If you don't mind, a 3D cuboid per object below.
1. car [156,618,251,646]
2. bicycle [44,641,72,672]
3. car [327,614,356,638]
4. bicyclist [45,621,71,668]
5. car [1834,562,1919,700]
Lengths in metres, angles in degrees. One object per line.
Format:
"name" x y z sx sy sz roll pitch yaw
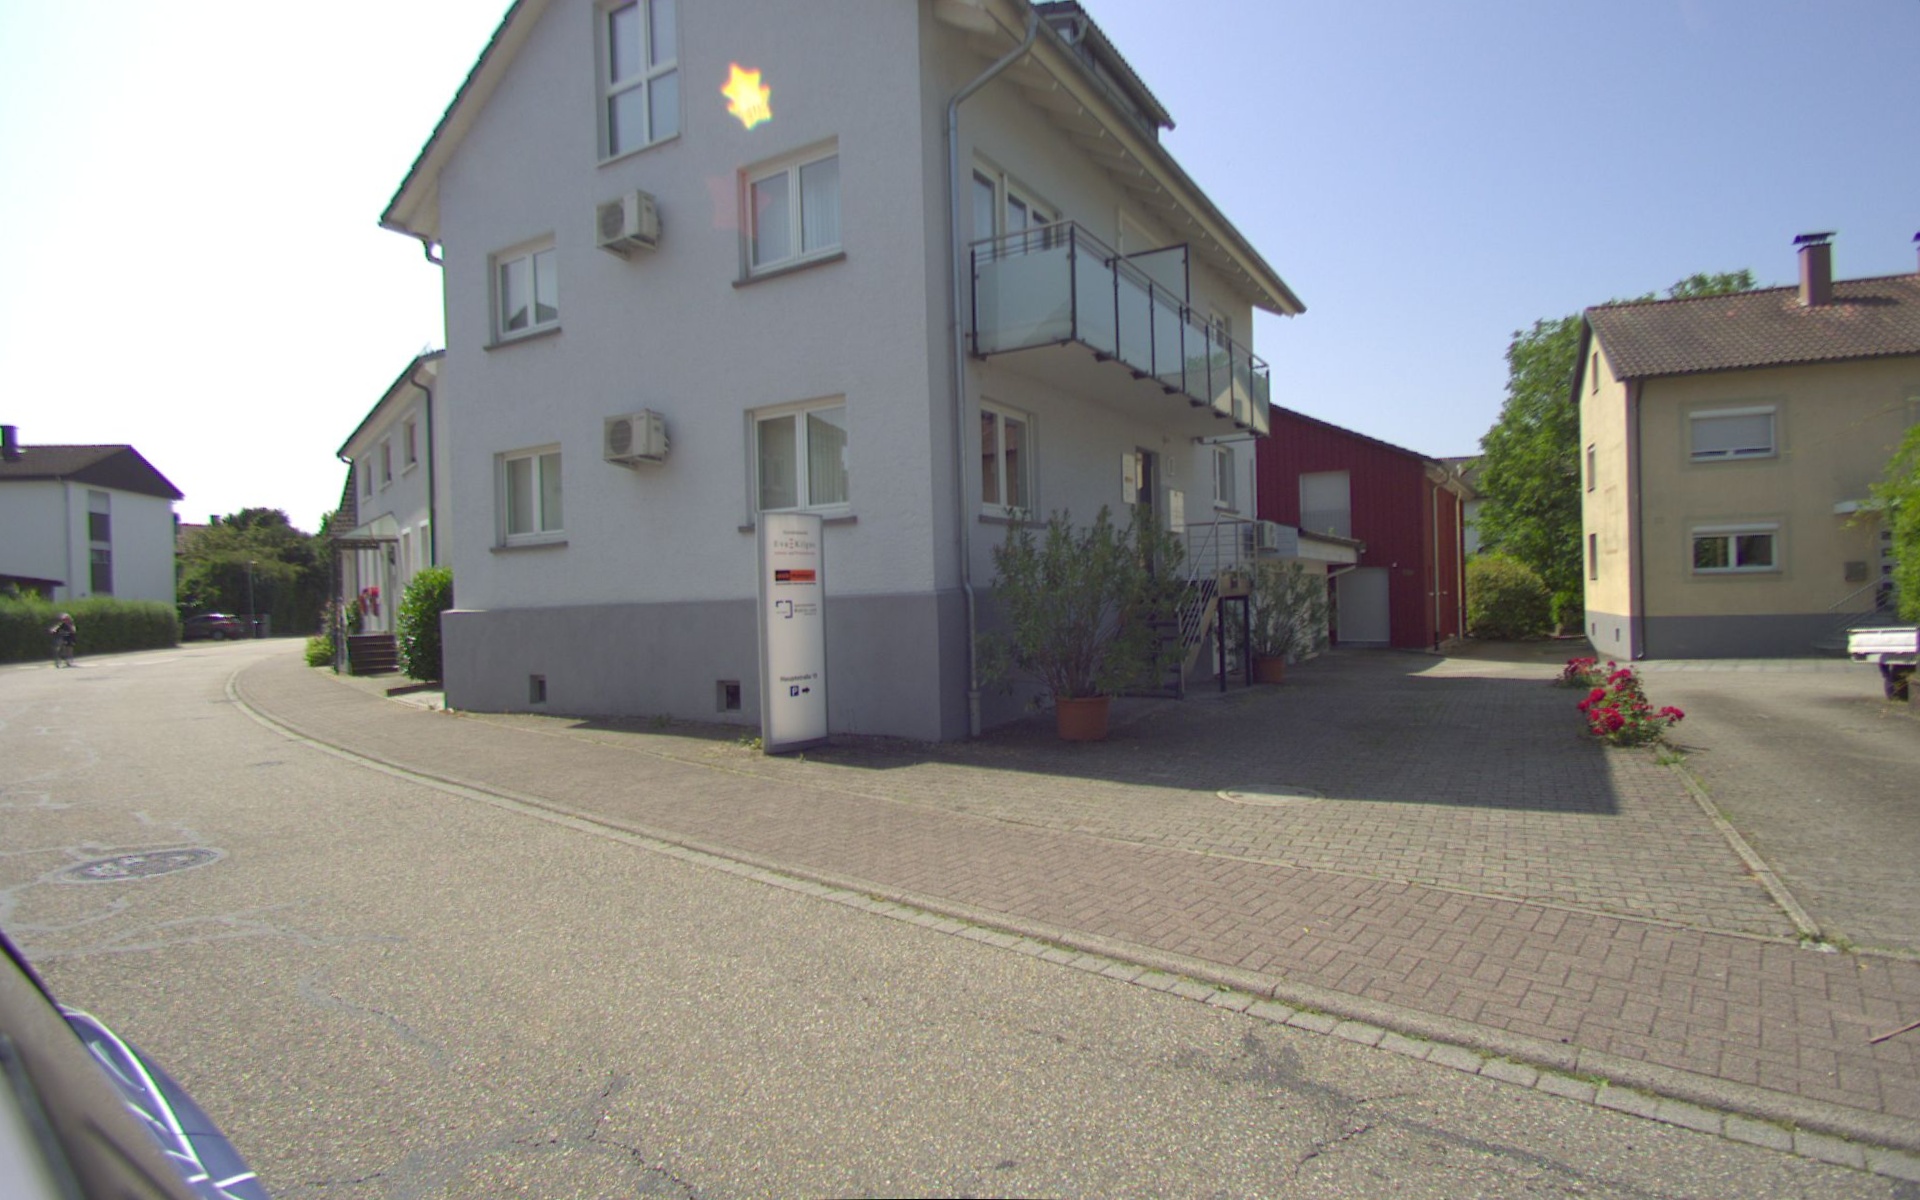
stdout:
"car" -46.651 1.968 62.521 4.219 1.684 2.072 0 -1 -17
"bicycle" -29.145 1.815 32.704 0.513 0.911 1.316 -1 0 -35
"car" -51.401 2.145 84.161 1.752 1.855 3.913 0 -1 -26
"bicyclist" -29.220 1.427 32.800 0.538 1.501 0.799 -1 0 -36
"car" 14.503 0.438 13.650 4.595 1.769 1.734 1 -2 -14
